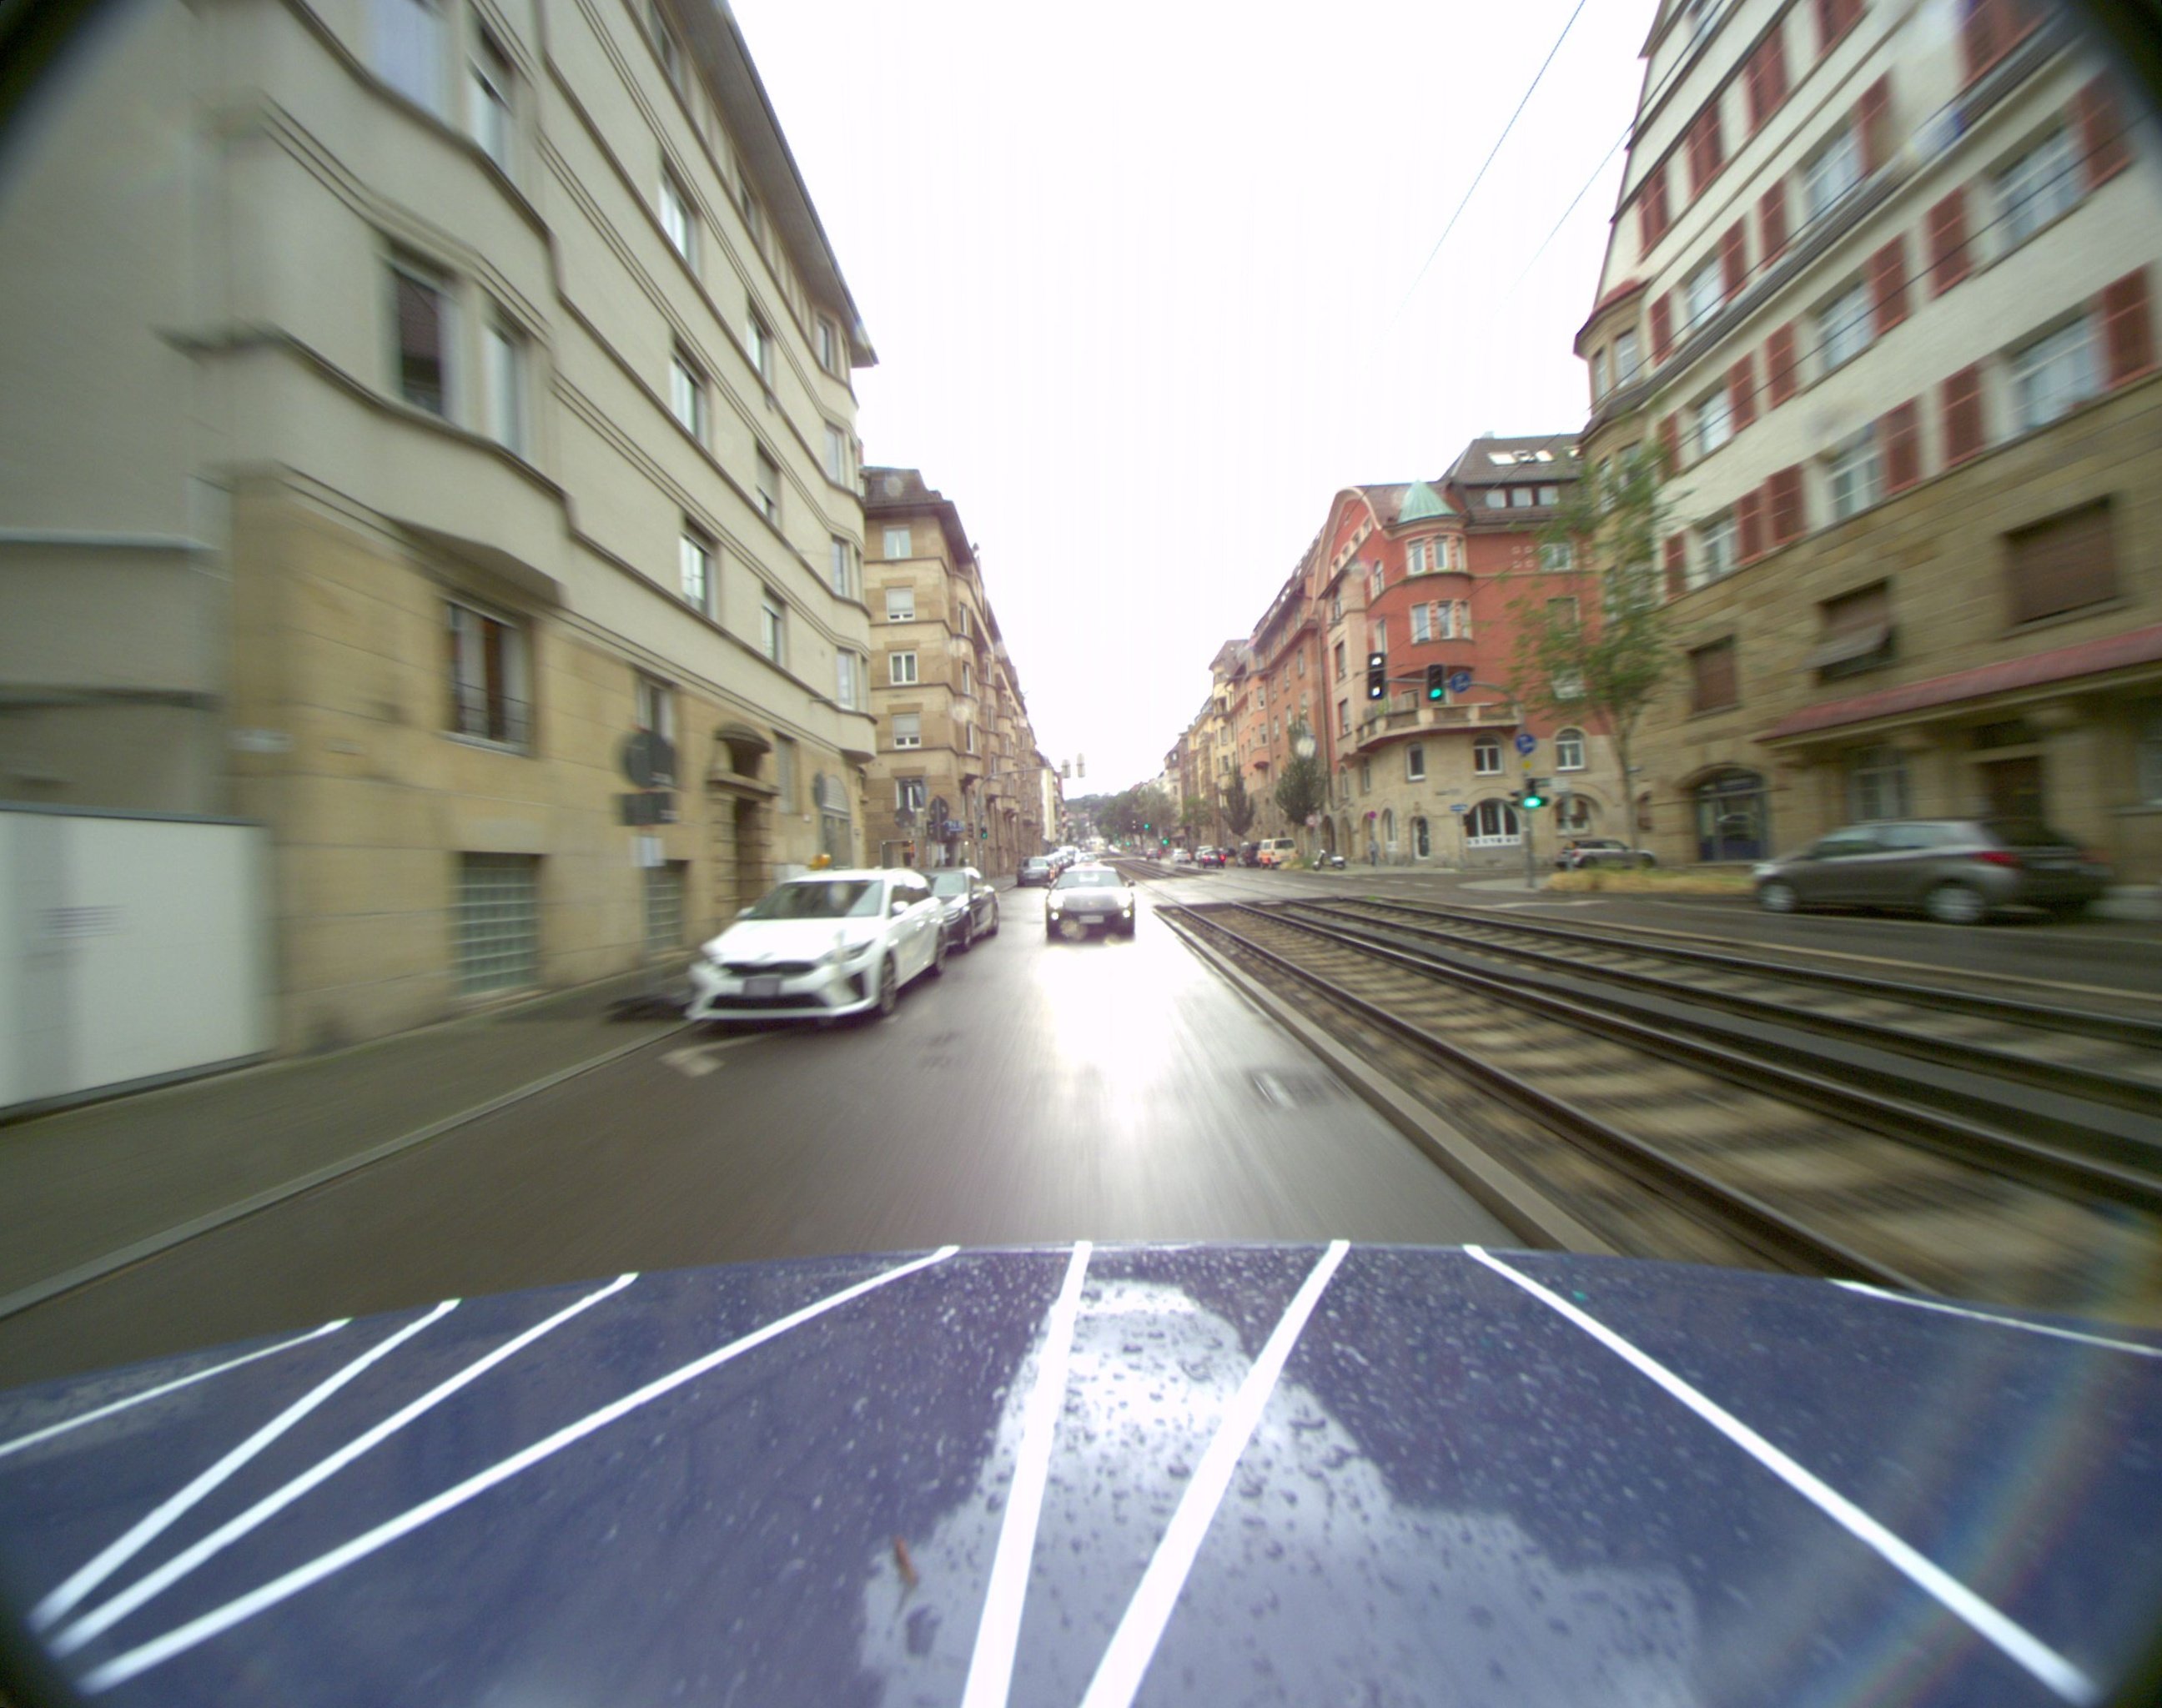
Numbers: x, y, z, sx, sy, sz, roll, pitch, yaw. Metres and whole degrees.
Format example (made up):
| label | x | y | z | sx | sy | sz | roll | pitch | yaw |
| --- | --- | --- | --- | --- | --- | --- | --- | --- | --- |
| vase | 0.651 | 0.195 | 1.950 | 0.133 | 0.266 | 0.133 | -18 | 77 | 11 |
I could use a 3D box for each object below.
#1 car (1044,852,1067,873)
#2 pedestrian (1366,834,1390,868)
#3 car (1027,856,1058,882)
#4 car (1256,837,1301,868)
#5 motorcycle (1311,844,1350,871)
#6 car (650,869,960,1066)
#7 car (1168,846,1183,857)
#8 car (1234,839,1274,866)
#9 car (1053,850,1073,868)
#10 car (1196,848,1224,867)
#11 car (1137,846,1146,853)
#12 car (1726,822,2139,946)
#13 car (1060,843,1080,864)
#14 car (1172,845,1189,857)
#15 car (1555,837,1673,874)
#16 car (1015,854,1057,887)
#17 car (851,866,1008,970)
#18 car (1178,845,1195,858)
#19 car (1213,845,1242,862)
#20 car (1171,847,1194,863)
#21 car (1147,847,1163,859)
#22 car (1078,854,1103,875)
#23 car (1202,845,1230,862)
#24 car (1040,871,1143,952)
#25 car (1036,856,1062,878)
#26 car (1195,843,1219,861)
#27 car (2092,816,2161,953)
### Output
| label | x | y | z | sx | sy | sz | roll | pitch | yaw |
| --- | --- | --- | --- | --- | --- | --- | --- | --- | --- |
| car | -2.105 | 0.699 | 63.839 | 1.774 | 1.592 | 3.999 | -2 | 1 | 0 |
| pedestrian | 15.888 | -0.174 | 40.705 | 0.718 | 1.710 | 0.892 | -8 | 1 | 1 |
| car | -2.356 | 0.897 | 47.373 | 1.710 | 1.444 | 3.532 | -3 | 1 | -1 |
| car | 13.096 | -0.112 | 50.628 | 1.732 | 1.919 | 4.475 | -2 | 1 | 0 |
| motorcycle | 13.108 | 0.186 | 39.936 | 1.779 | 1.367 | 0.769 | -2 | 2 | 33 |
| car | -2.742 | 1.019 | 8.886 | 1.716 | 1.459 | 4.773 | -2 | 1 | 1 |
| car | 13.643 | -0.394 | 110.195 | 1.759 | 1.419 | 3.712 | -5 | 1 | 2 |
| car | 13.114 | -0.143 | 57.855 | 1.910 | 1.919 | 4.831 | -2 | 1 | 0 |
| car | -1.839 | 0.496 | 78.689 | 1.811 | 1.758 | 3.962 | -2 | 1 | 1 |
| car | 10.242 | 0.269 | 60.615 | 1.657 | 1.454 | 3.734 | -2 | 0 | 1 |
| car | 13.880 | -1.047 | 175.219 | 1.794 | 1.339 | 4.257 | -2 | 1 | 1 |
| car | 12.612 | 0.353 | 11.757 | 1.694 | 1.520 | 4.175 | -2 | 1 | 0 |
| car | -1.414 | -0.123 | 99.664 | 1.991 | 2.520 | 6.155 | -3 | 1 | 3 |
| car | 13.782 | -0.427 | 105.350 | 1.759 | 1.443 | 4.043 | -5 | 1 | 2 |
| car | 23.717 | 0.046 | 33.905 | 3.997 | 1.458 | 1.747 | -2 | 1 | 1 |
| car | -2.414 | 0.861 | 41.621 | 1.872 | 1.540 | 3.991 | -3 | 1 | 1 |
| car | -2.593 | 1.047 | 14.253 | 1.715 | 1.402 | 4.817 | -2 | 1 | 3 |
| car | 13.785 | -0.396 | 99.288 | 1.717 | 1.473 | 3.712 | -5 | 1 | 2 |
| car | 13.478 | -0.031 | 70.004 | 1.760 | 1.396 | 3.694 | -5 | 1 | -2 |
| car | 10.480 | 0.086 | 78.581 | 1.785 | 1.494 | 4.061 | -2 | 1 | 0 |
| car | 10.666 | -0.213 | 109.811 | 1.926 | 1.608 | 4.128 | -2 | 1 | 0 |
| car | 0.738 | 0.768 | 58.710 | 1.793 | 1.459 | 4.257 | -2 | 1 | 1 |
| car | 13.279 | -0.104 | 74.971 | 1.760 | 1.482 | 4.597 | -5 | 1 | -1 |
| car | 0.228 | 1.033 | 15.064 | 1.737 | 1.262 | 4.258 | -1 | 0 | 1 |
| car | -2.256 | 0.907 | 54.570 | 1.598 | 1.478 | 3.522 | -2 | 0 | 1 |
| car | 13.353 | -0.271 | 80.633 | 1.759 | 1.663 | 4.259 | -5 | 1 | 0 |
| car | 12.467 | 0.327 | 6.201 | 1.785 | 1.451 | 4.977 | -2 | 1 | 0 |
